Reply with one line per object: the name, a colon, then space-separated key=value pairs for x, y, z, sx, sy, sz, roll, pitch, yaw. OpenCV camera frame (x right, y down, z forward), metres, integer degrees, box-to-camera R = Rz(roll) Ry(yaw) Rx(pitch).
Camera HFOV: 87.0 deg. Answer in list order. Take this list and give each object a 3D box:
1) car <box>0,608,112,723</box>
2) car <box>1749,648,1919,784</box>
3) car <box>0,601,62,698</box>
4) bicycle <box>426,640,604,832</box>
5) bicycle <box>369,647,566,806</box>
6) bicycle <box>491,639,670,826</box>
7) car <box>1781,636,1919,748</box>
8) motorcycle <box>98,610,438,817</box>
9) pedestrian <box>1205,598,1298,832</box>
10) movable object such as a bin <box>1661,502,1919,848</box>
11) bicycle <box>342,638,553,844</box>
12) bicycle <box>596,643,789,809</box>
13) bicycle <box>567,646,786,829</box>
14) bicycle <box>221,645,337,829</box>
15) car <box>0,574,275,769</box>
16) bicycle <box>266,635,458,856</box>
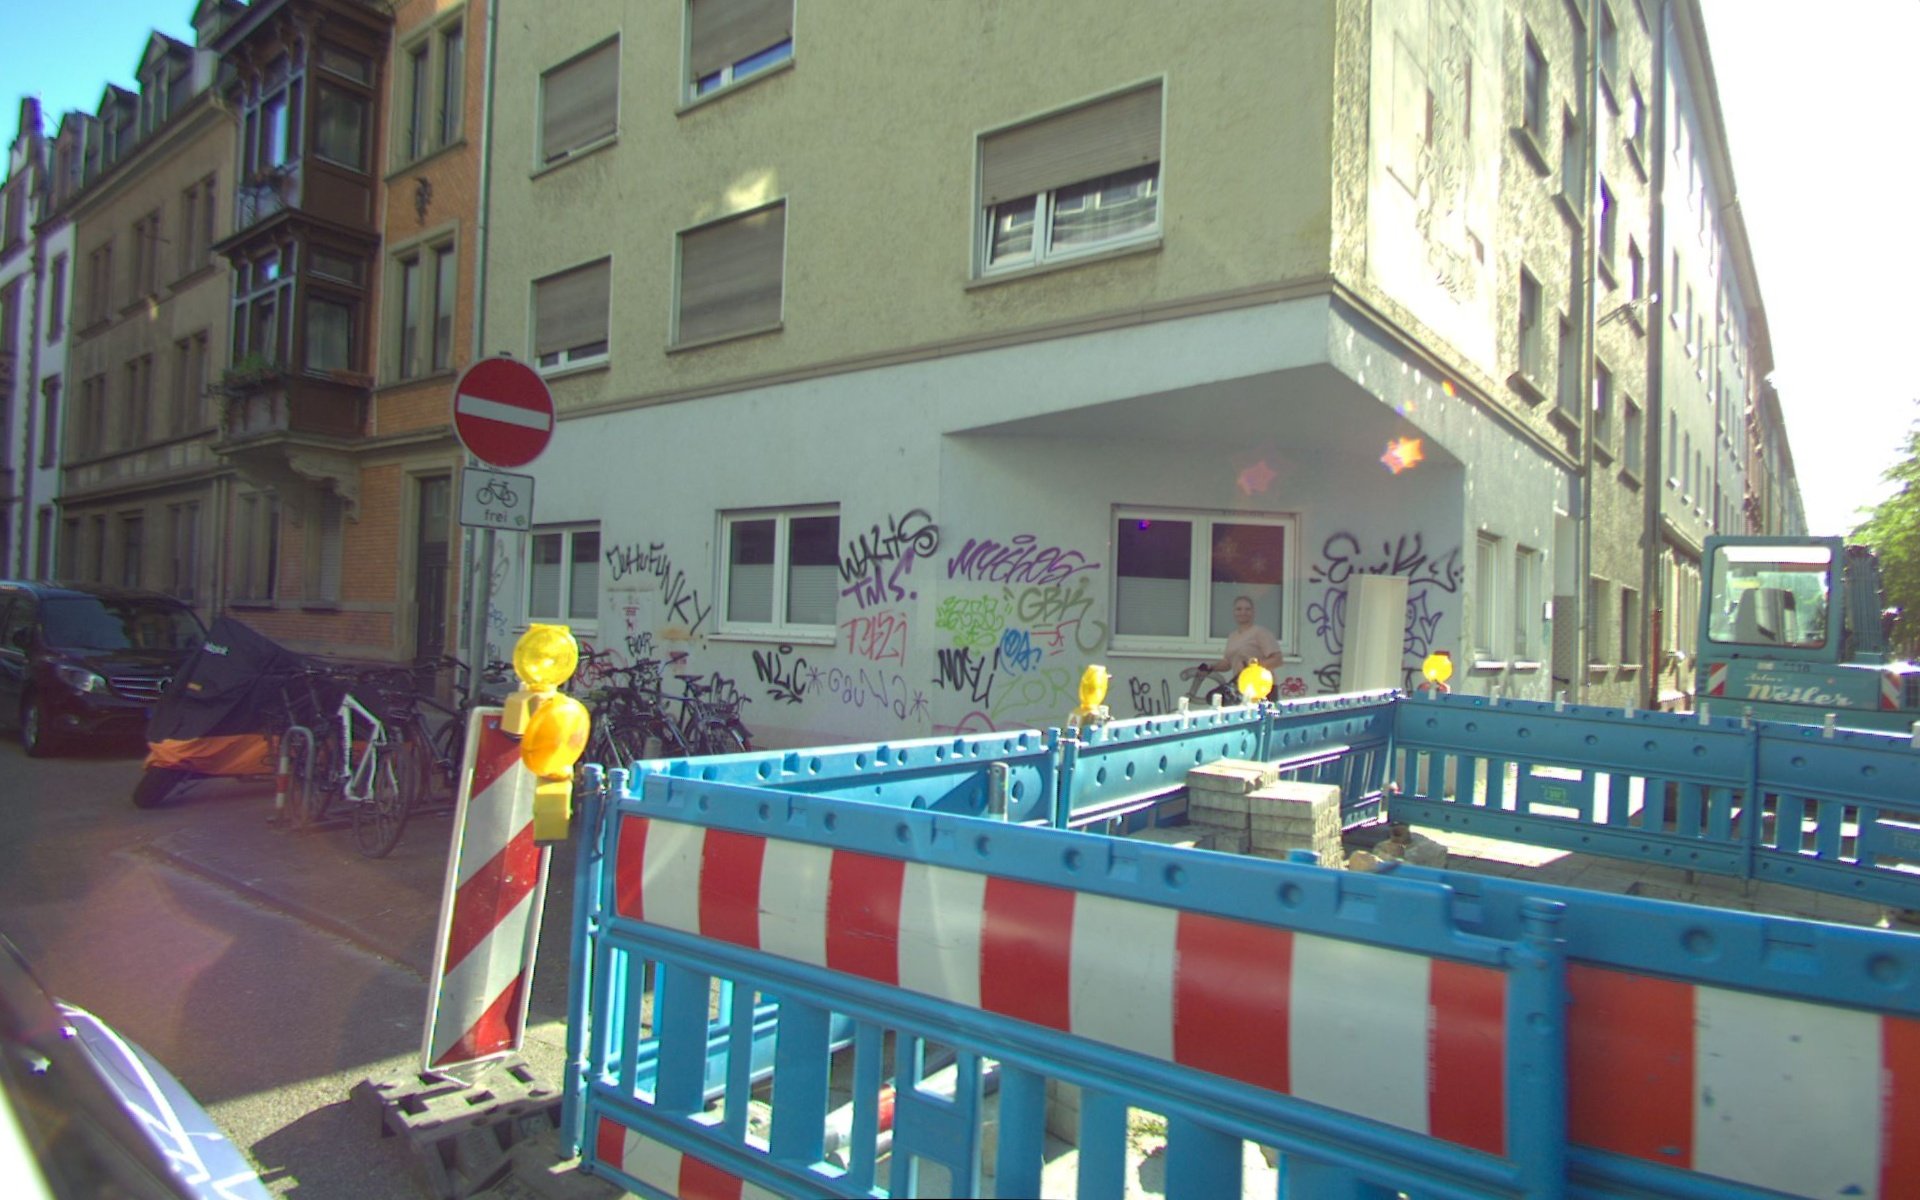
car: x=-13.619 y=0.843 z=14.290 sx=3.637 sy=1.460 sz=1.662 roll=0 pitch=-2 yaw=36
car: x=12.824 y=1.579 z=14.684 sx=1.909 sy=1.578 sz=4.146 roll=3 pitch=-1 yaw=41
car: x=-17.189 y=0.774 z=17.193 sx=3.991 sy=1.564 sz=1.976 roll=0 pitch=-3 yaw=35
bicycle: x=-3.178 y=0.910 z=7.174 sx=1.549 sy=1.237 sz=0.360 roll=-1 pitch=-4 yaw=35
bicycle: x=-4.198 y=1.014 z=8.581 sx=1.865 sy=1.164 sz=0.542 roll=1 pitch=-2 yaw=31
bicycle: x=-2.792 y=0.905 z=7.359 sx=1.695 sy=1.237 sz=0.292 roll=-2 pitch=-4 yaw=36
car: x=17.943 y=1.788 z=20.477 sx=1.999 sy=1.954 sz=4.550 roll=1 pitch=-3 yaw=40
motorcycle: x=-5.770 y=0.873 z=8.728 sx=0.893 sy=1.493 sz=2.513 roll=1 pitch=-2 yaw=9
pedestrian: x=2.306 y=0.874 z=7.979 sx=0.556 sy=1.754 sz=0.520 roll=1 pitch=-3 yaw=31
movable object such as a bin: x=7.714 y=0.632 z=9.109 sx=2.069 sy=2.621 sz=2.724 roll=0 pitch=-3 yaw=40
bicycle: x=-3.506 y=0.885 z=6.851 sx=1.869 sy=1.237 sz=0.396 roll=-1 pitch=-4 yaw=35
bicycle: x=-2.220 y=0.973 z=8.278 sx=1.810 sy=1.237 sz=0.396 roll=-1 pitch=-4 yaw=33
bicycle: x=-2.199 y=0.977 z=7.701 sx=2.025 sy=1.237 sz=0.396 roll=-2 pitch=-4 yaw=35
bicycle: x=-4.882 y=0.926 z=7.228 sx=1.291 sy=1.164 sz=0.372 roll=0 pitch=-3 yaw=44
car: x=-9.615 y=0.675 z=11.193 sx=4.323 sy=1.779 sz=1.804 roll=1 pitch=-2 yaw=33
bicycle: x=-3.742 y=0.843 z=6.298 sx=1.501 sy=1.237 sz=0.396 roll=-1 pitch=-4 yaw=35
